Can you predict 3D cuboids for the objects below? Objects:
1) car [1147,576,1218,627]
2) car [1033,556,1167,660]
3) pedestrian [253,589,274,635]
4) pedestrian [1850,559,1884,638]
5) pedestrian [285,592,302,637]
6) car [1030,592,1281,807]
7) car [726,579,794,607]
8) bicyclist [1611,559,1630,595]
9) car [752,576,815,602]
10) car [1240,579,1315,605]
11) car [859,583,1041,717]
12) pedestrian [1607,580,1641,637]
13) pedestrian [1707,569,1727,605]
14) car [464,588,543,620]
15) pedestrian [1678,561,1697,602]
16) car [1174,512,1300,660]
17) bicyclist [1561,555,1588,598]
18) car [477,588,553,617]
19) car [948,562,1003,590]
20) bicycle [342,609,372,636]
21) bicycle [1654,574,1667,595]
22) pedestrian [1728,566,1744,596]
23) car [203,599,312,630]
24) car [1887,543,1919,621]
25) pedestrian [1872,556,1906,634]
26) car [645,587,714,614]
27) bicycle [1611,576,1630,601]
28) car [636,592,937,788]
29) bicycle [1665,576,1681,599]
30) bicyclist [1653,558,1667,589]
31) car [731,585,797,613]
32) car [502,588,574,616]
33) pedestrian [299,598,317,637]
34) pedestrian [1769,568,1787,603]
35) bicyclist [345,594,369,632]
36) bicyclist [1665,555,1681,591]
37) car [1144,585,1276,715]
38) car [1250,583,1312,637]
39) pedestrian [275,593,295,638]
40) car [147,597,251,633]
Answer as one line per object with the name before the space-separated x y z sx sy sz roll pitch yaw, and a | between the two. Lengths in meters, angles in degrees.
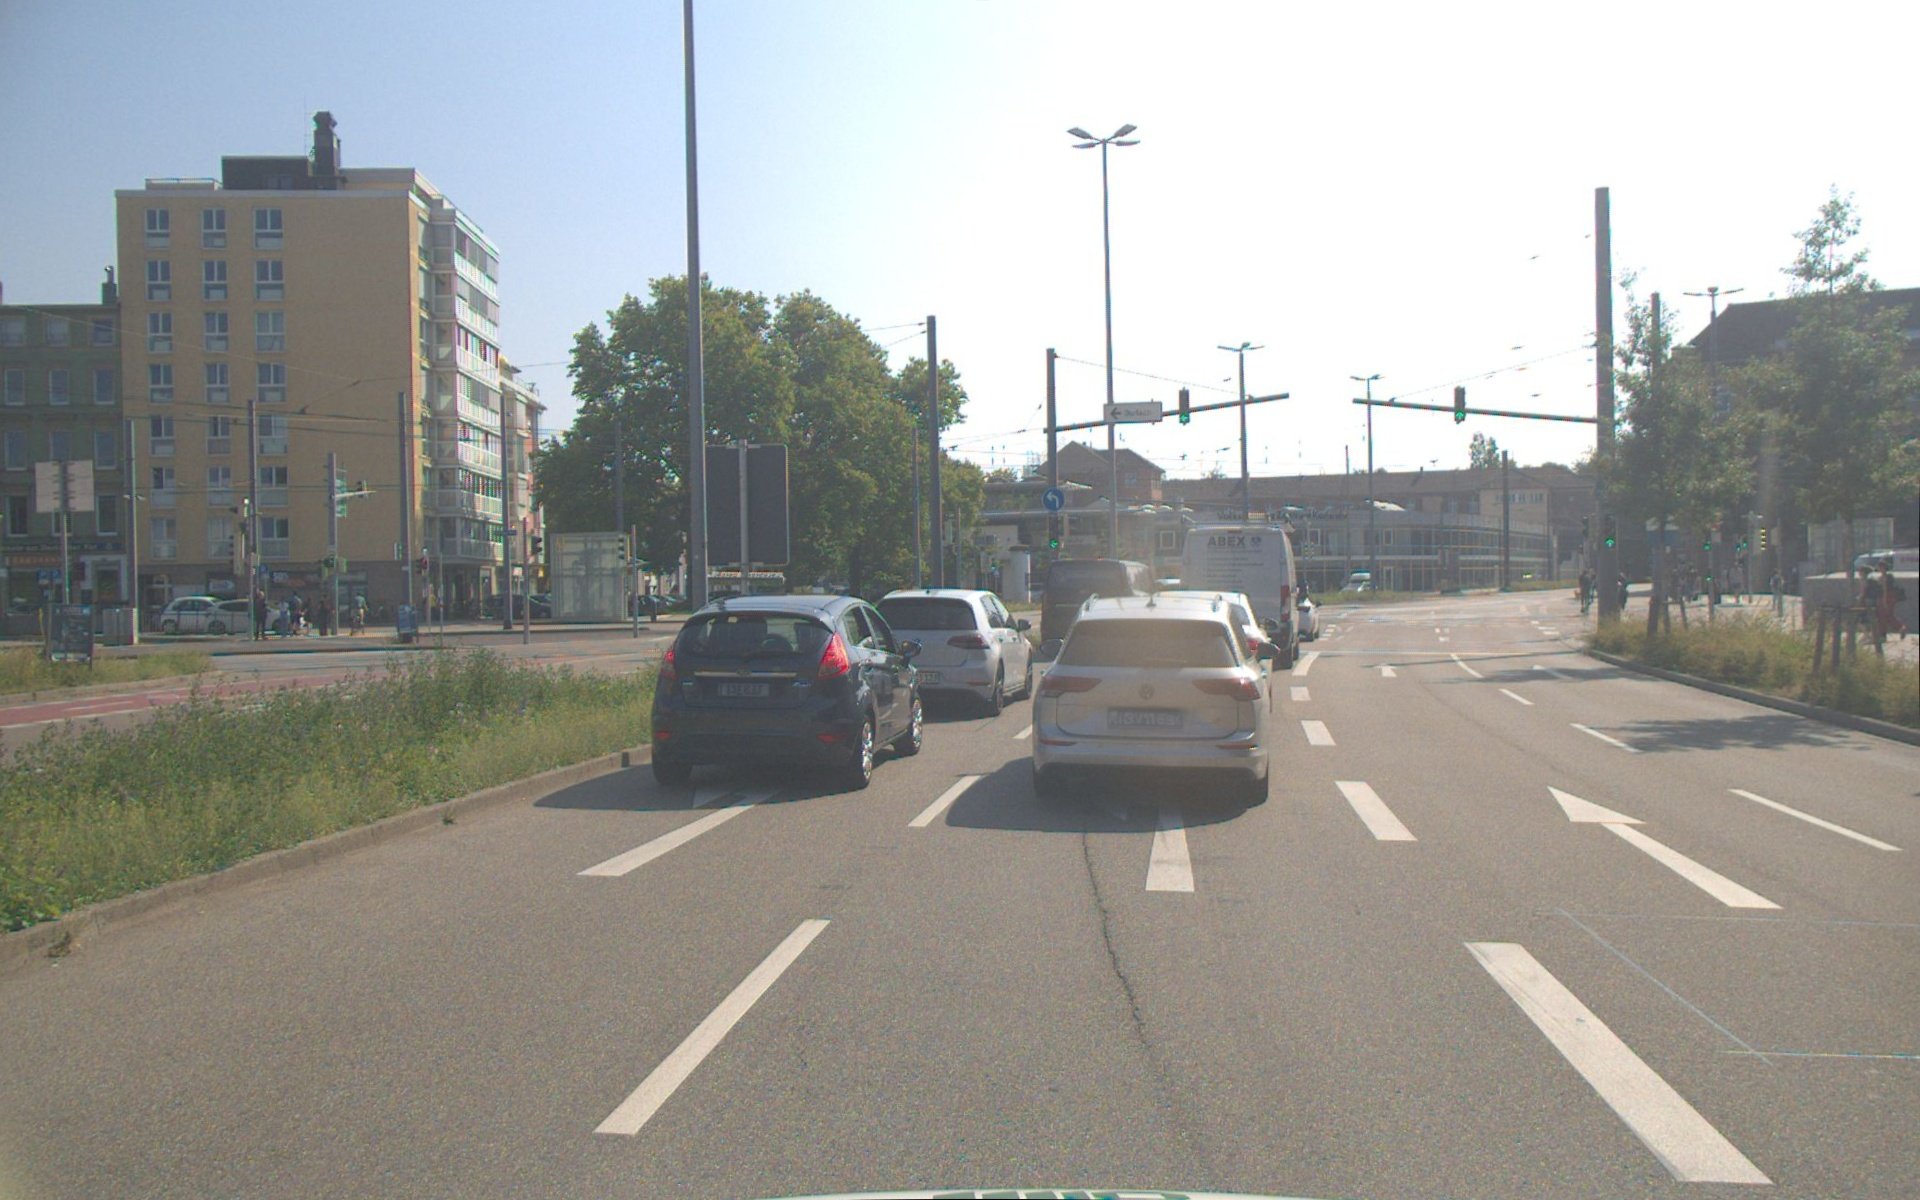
car | 7.075 0.046 52.304 1.588 1.528 4.091 -1 0 17
car | 3.073 0.144 35.242 1.980 2.043 4.687 0 0 16
pedestrian | -26.782 0.458 63.572 0.445 1.714 0.547 0 3 21
pedestrian | 19.295 -0.034 35.178 0.603 1.667 0.533 -1 0 30
pedestrian | -26.209 0.574 65.019 0.452 1.714 0.434 -3 4 -42
car | 1.605 0.657 12.780 1.649 1.412 3.637 0 0 10
car | -12.378 -0.448 102.424 3.905 1.646 1.813 -1 0 0
bicyclist | 28.367 -0.988 71.042 0.698 1.556 0.806 -1 0 23
car | -11.362 -0.717 106.757 3.908 1.585 1.726 -1 0 -4
car | 17.806 -0.479 92.904 3.882 1.365 1.931 -1 1 4
car | -0.037 0.547 20.241 1.457 1.439 3.651 -1 1 12
pedestrian | 16.342 0.207 40.706 0.622 1.385 0.634 -1 0 6
pedestrian | 32.973 -0.574 72.021 0.731 1.556 0.806 -1 0 23
car | -25.518 0.209 92.543 3.907 1.584 1.869 -1 3 -3
pedestrian | 34.582 -0.870 78.610 0.788 1.921 0.748 -1 0 23
car | 5.358 -0.248 31.552 2.142 2.594 4.687 0 0 12
bicyclist | 23.261 -0.877 62.627 0.755 1.606 0.991 0 0 9
car | -25.610 0.142 95.217 3.863 1.585 1.793 -1 0 -3
car | 1.197 -1.808 124.982 3.902 2.048 2.002 0 3 8
bicycle | -23.714 0.865 65.077 0.714 1.001 1.729 -1 0 -7
bicycle | 43.250 -0.970 102.145 0.724 1.239 2.245 -1 1 23
pedestrian | 35.948 -0.894 76.646 0.645 1.384 0.658 0 3 27
car | -28.684 0.588 67.588 3.755 1.200 1.574 -1 -1 -6
car | 27.471 -0.523 44.769 3.914 2.048 1.750 -1 3 -10
pedestrian | 19.887 -0.105 35.413 0.603 1.657 0.533 -1 0 30
car | -17.012 0.025 100.421 3.908 1.585 1.726 -1 0 -4
bicycle | 28.354 -0.501 71.002 0.691 1.080 1.982 -1 1 23
car | -1.285 0.639 13.872 1.665 1.392 3.967 0 0 7
bicycle | 36.784 -0.650 85.340 0.731 1.168 2.866 -1 1 23
bicyclist | 43.224 -1.632 102.126 0.731 1.861 0.806 -1 0 23
car | -12.371 -0.056 104.462 3.905 1.646 1.813 -1 0 0
car | -25.431 0.140 99.752 3.908 1.585 1.867 -1 0 -4
pedestrian | -25.777 0.696 65.413 0.494 1.512 0.434 -3 4 -42
pedestrian | 32.909 -0.577 66.535 0.645 1.384 0.658 0 3 27
bicyclist | -23.716 0.520 65.053 0.712 1.459 0.689 -1 0 -7
bicyclist | 36.781 -1.374 85.325 0.731 1.817 1.113 -1 0 23
car | 3.148 0.546 20.544 1.457 1.427 3.946 0 1 10
car | 8.935 0.248 46.024 1.602 1.428 3.690 -1 0 11
pedestrian | -26.112 0.587 63.950 0.445 1.714 0.548 0 3 9
car | -32.355 0.626 70.414 3.663 1.417 1.586 -1 0 -3
